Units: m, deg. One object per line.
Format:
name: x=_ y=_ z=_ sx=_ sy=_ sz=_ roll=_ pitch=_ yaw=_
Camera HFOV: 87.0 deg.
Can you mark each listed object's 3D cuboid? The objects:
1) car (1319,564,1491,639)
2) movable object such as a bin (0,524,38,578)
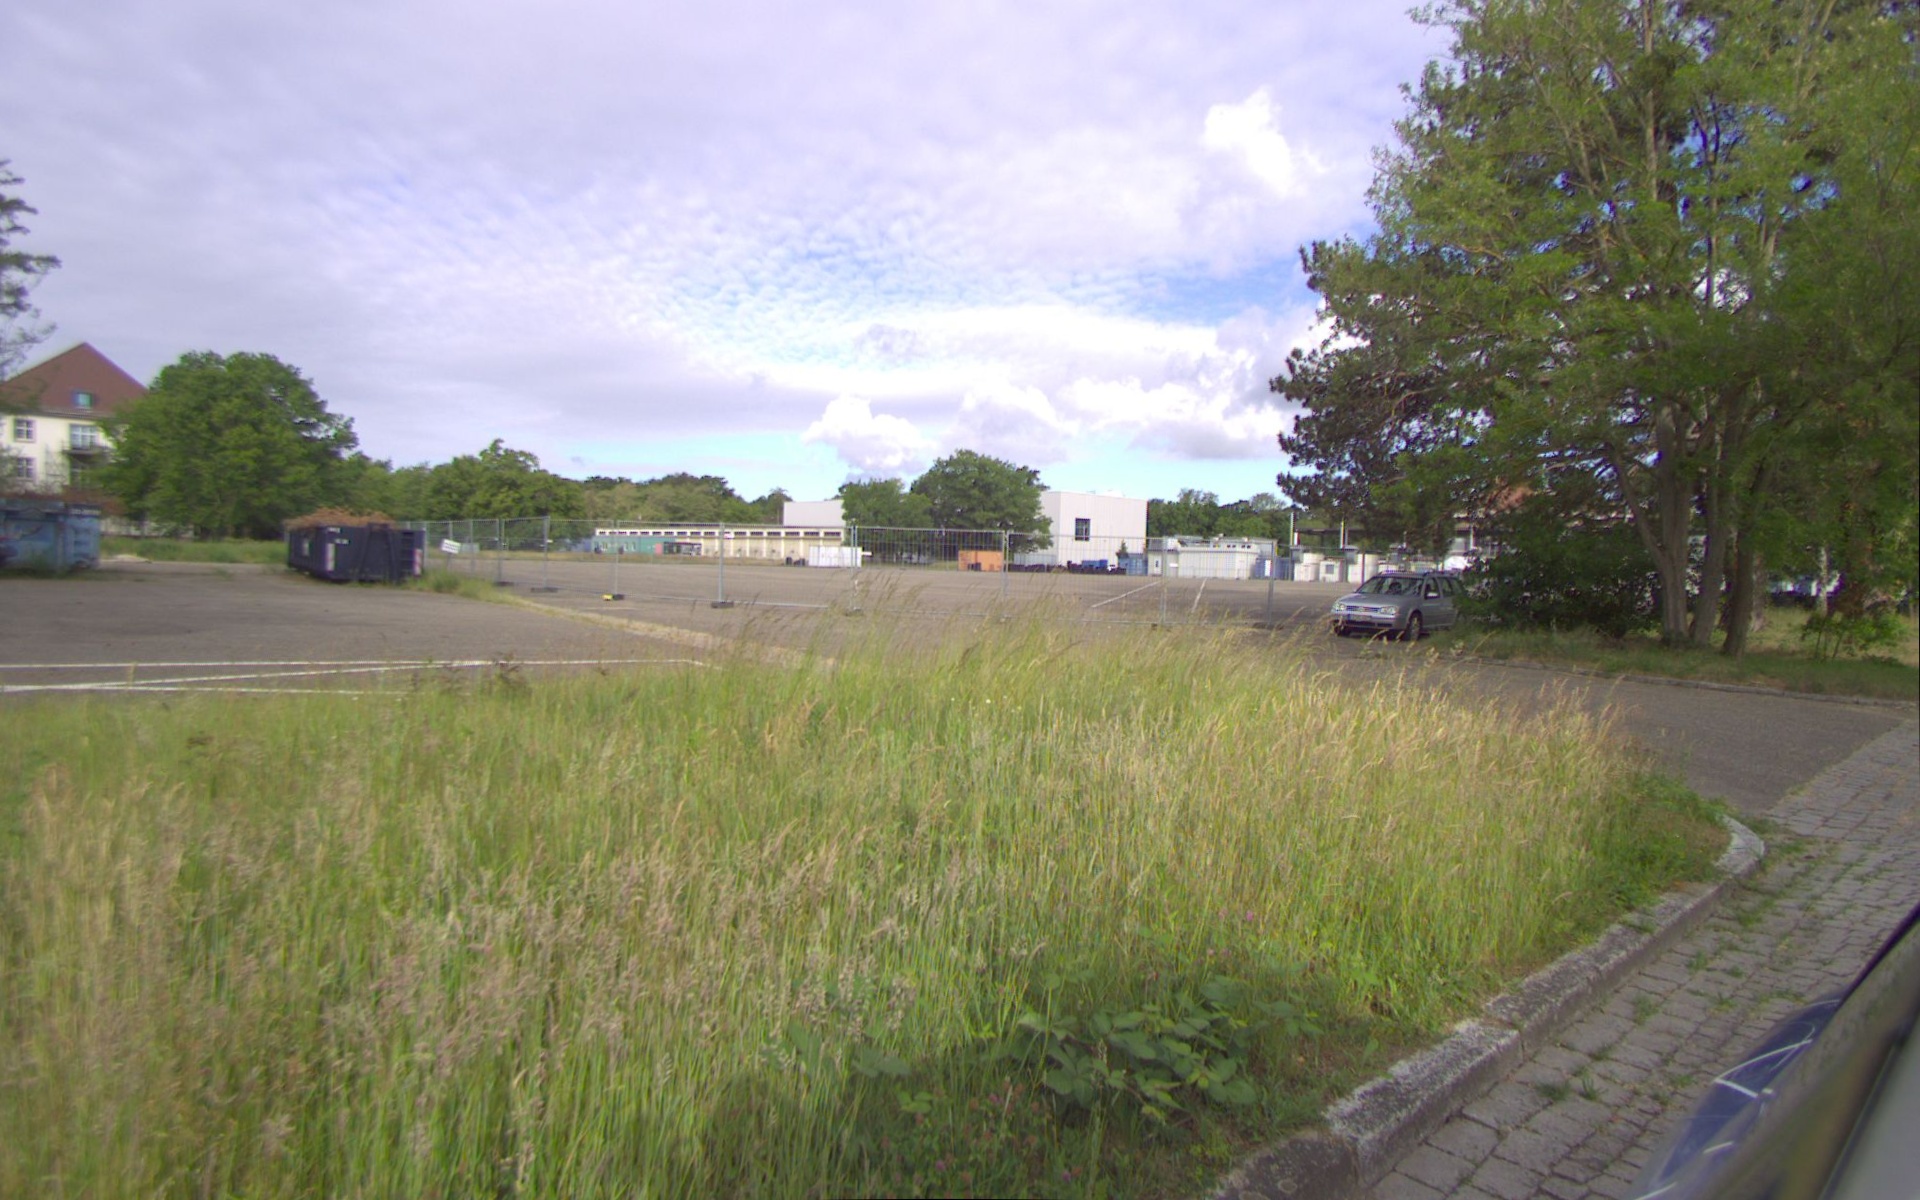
car: x=9.944 y=-0.009 z=22.501 sx=4.250 sy=1.466 sz=1.759 roll=0 pitch=3 yaw=-40
movable object such as a bin: x=-20.786 y=-1.066 z=20.936 sx=2.499 sy=1.097 sz=1.064 roll=1 pitch=2 yaw=-42
